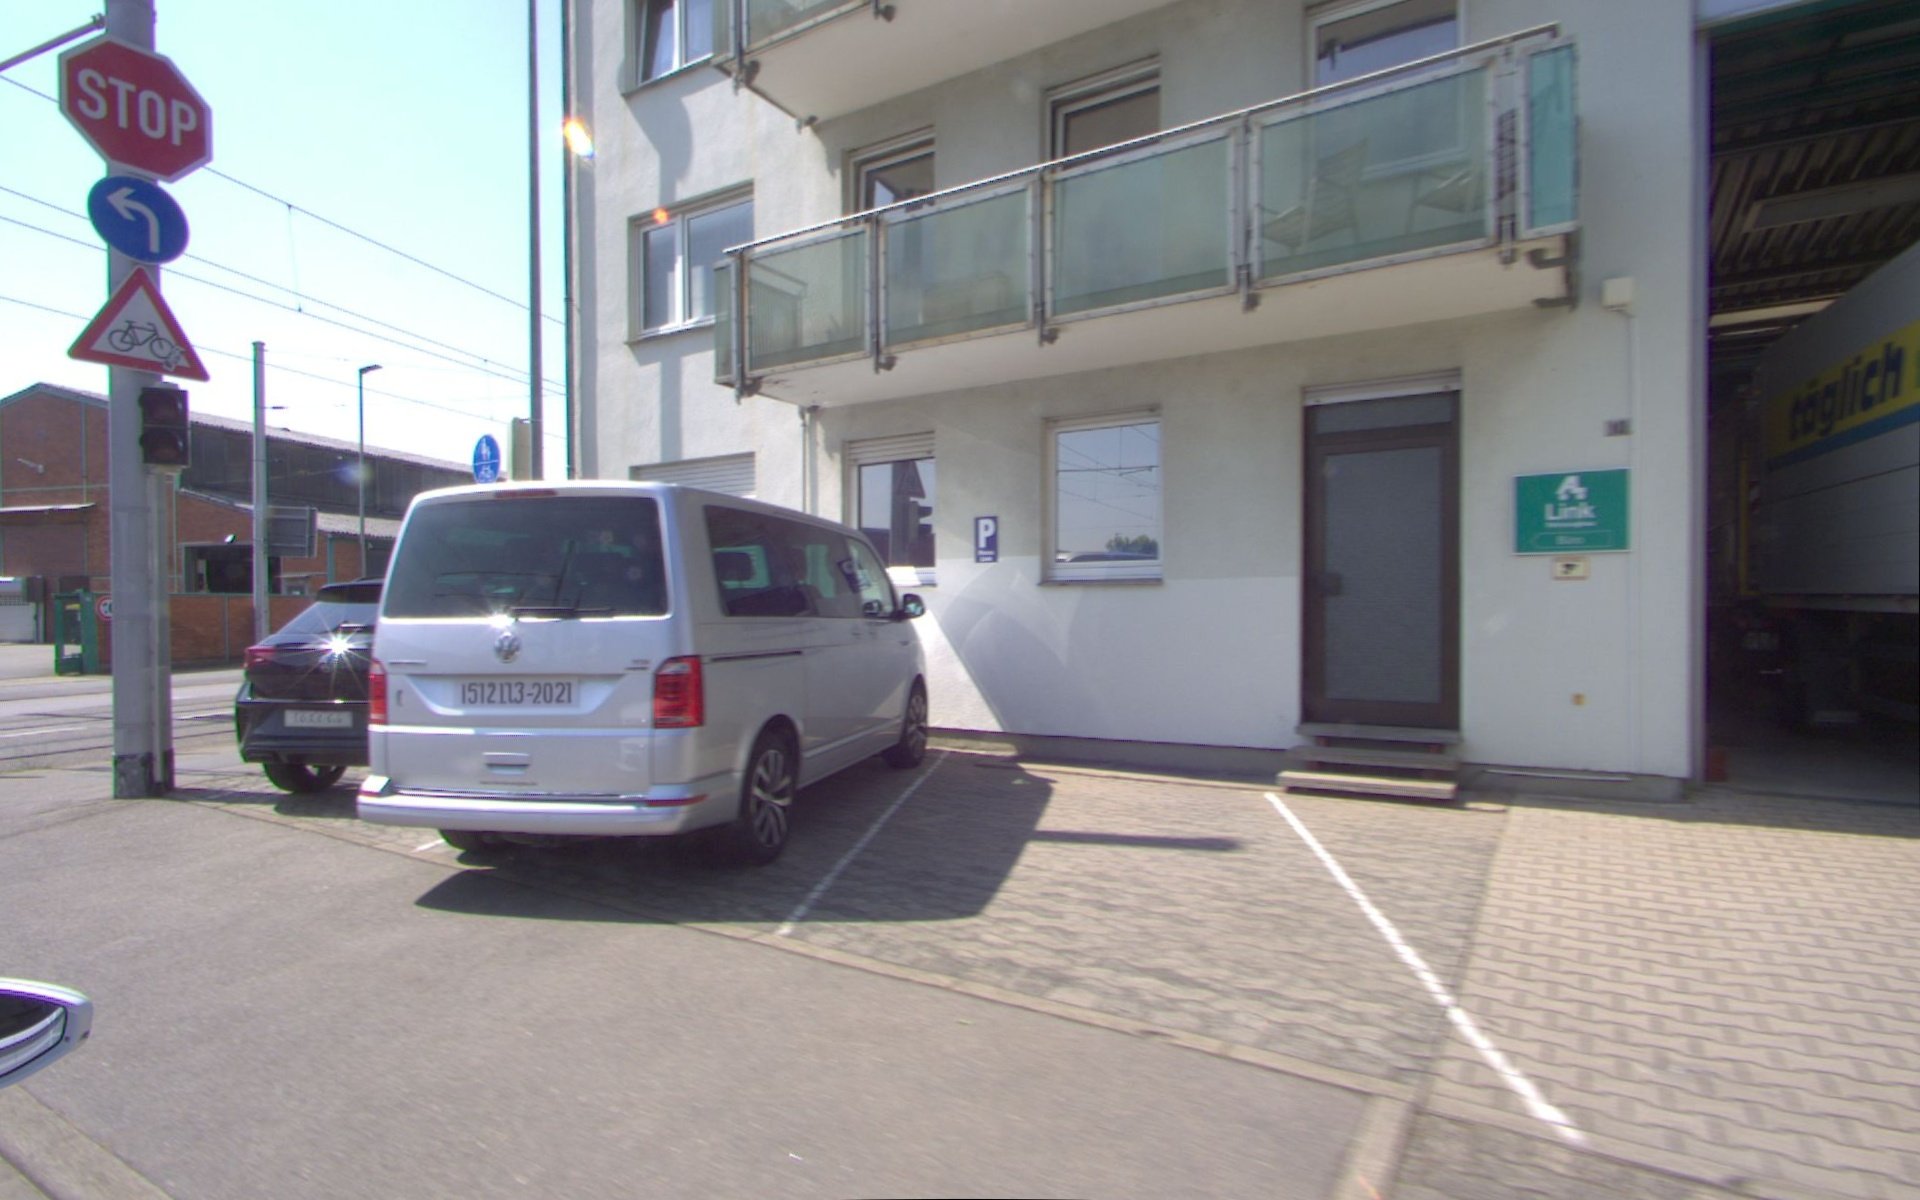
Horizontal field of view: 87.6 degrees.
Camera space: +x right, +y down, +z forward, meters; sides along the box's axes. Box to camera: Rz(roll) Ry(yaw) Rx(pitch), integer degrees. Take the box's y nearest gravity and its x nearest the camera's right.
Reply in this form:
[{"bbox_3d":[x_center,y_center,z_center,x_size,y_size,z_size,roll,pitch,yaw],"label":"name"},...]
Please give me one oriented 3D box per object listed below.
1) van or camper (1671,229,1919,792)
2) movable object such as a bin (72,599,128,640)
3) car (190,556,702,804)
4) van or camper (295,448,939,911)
[{"bbox_3d":[8.365,-0.602,7.662,2.736,3.741,11.598,0,0,25],"label":"van or camper"},{"bbox_3d":[-28.847,0.645,33.599,1.131,1.331,0.976,0,0,15],"label":"movable object such as a bin"},{"bbox_3d":[-3.792,0.539,8.306,1.844,1.541,3.973,0,-1,7],"label":"car"},{"bbox_3d":[-1.615,0.349,6.613,1.962,1.933,4.552,0,0,12],"label":"van or camper"}]
